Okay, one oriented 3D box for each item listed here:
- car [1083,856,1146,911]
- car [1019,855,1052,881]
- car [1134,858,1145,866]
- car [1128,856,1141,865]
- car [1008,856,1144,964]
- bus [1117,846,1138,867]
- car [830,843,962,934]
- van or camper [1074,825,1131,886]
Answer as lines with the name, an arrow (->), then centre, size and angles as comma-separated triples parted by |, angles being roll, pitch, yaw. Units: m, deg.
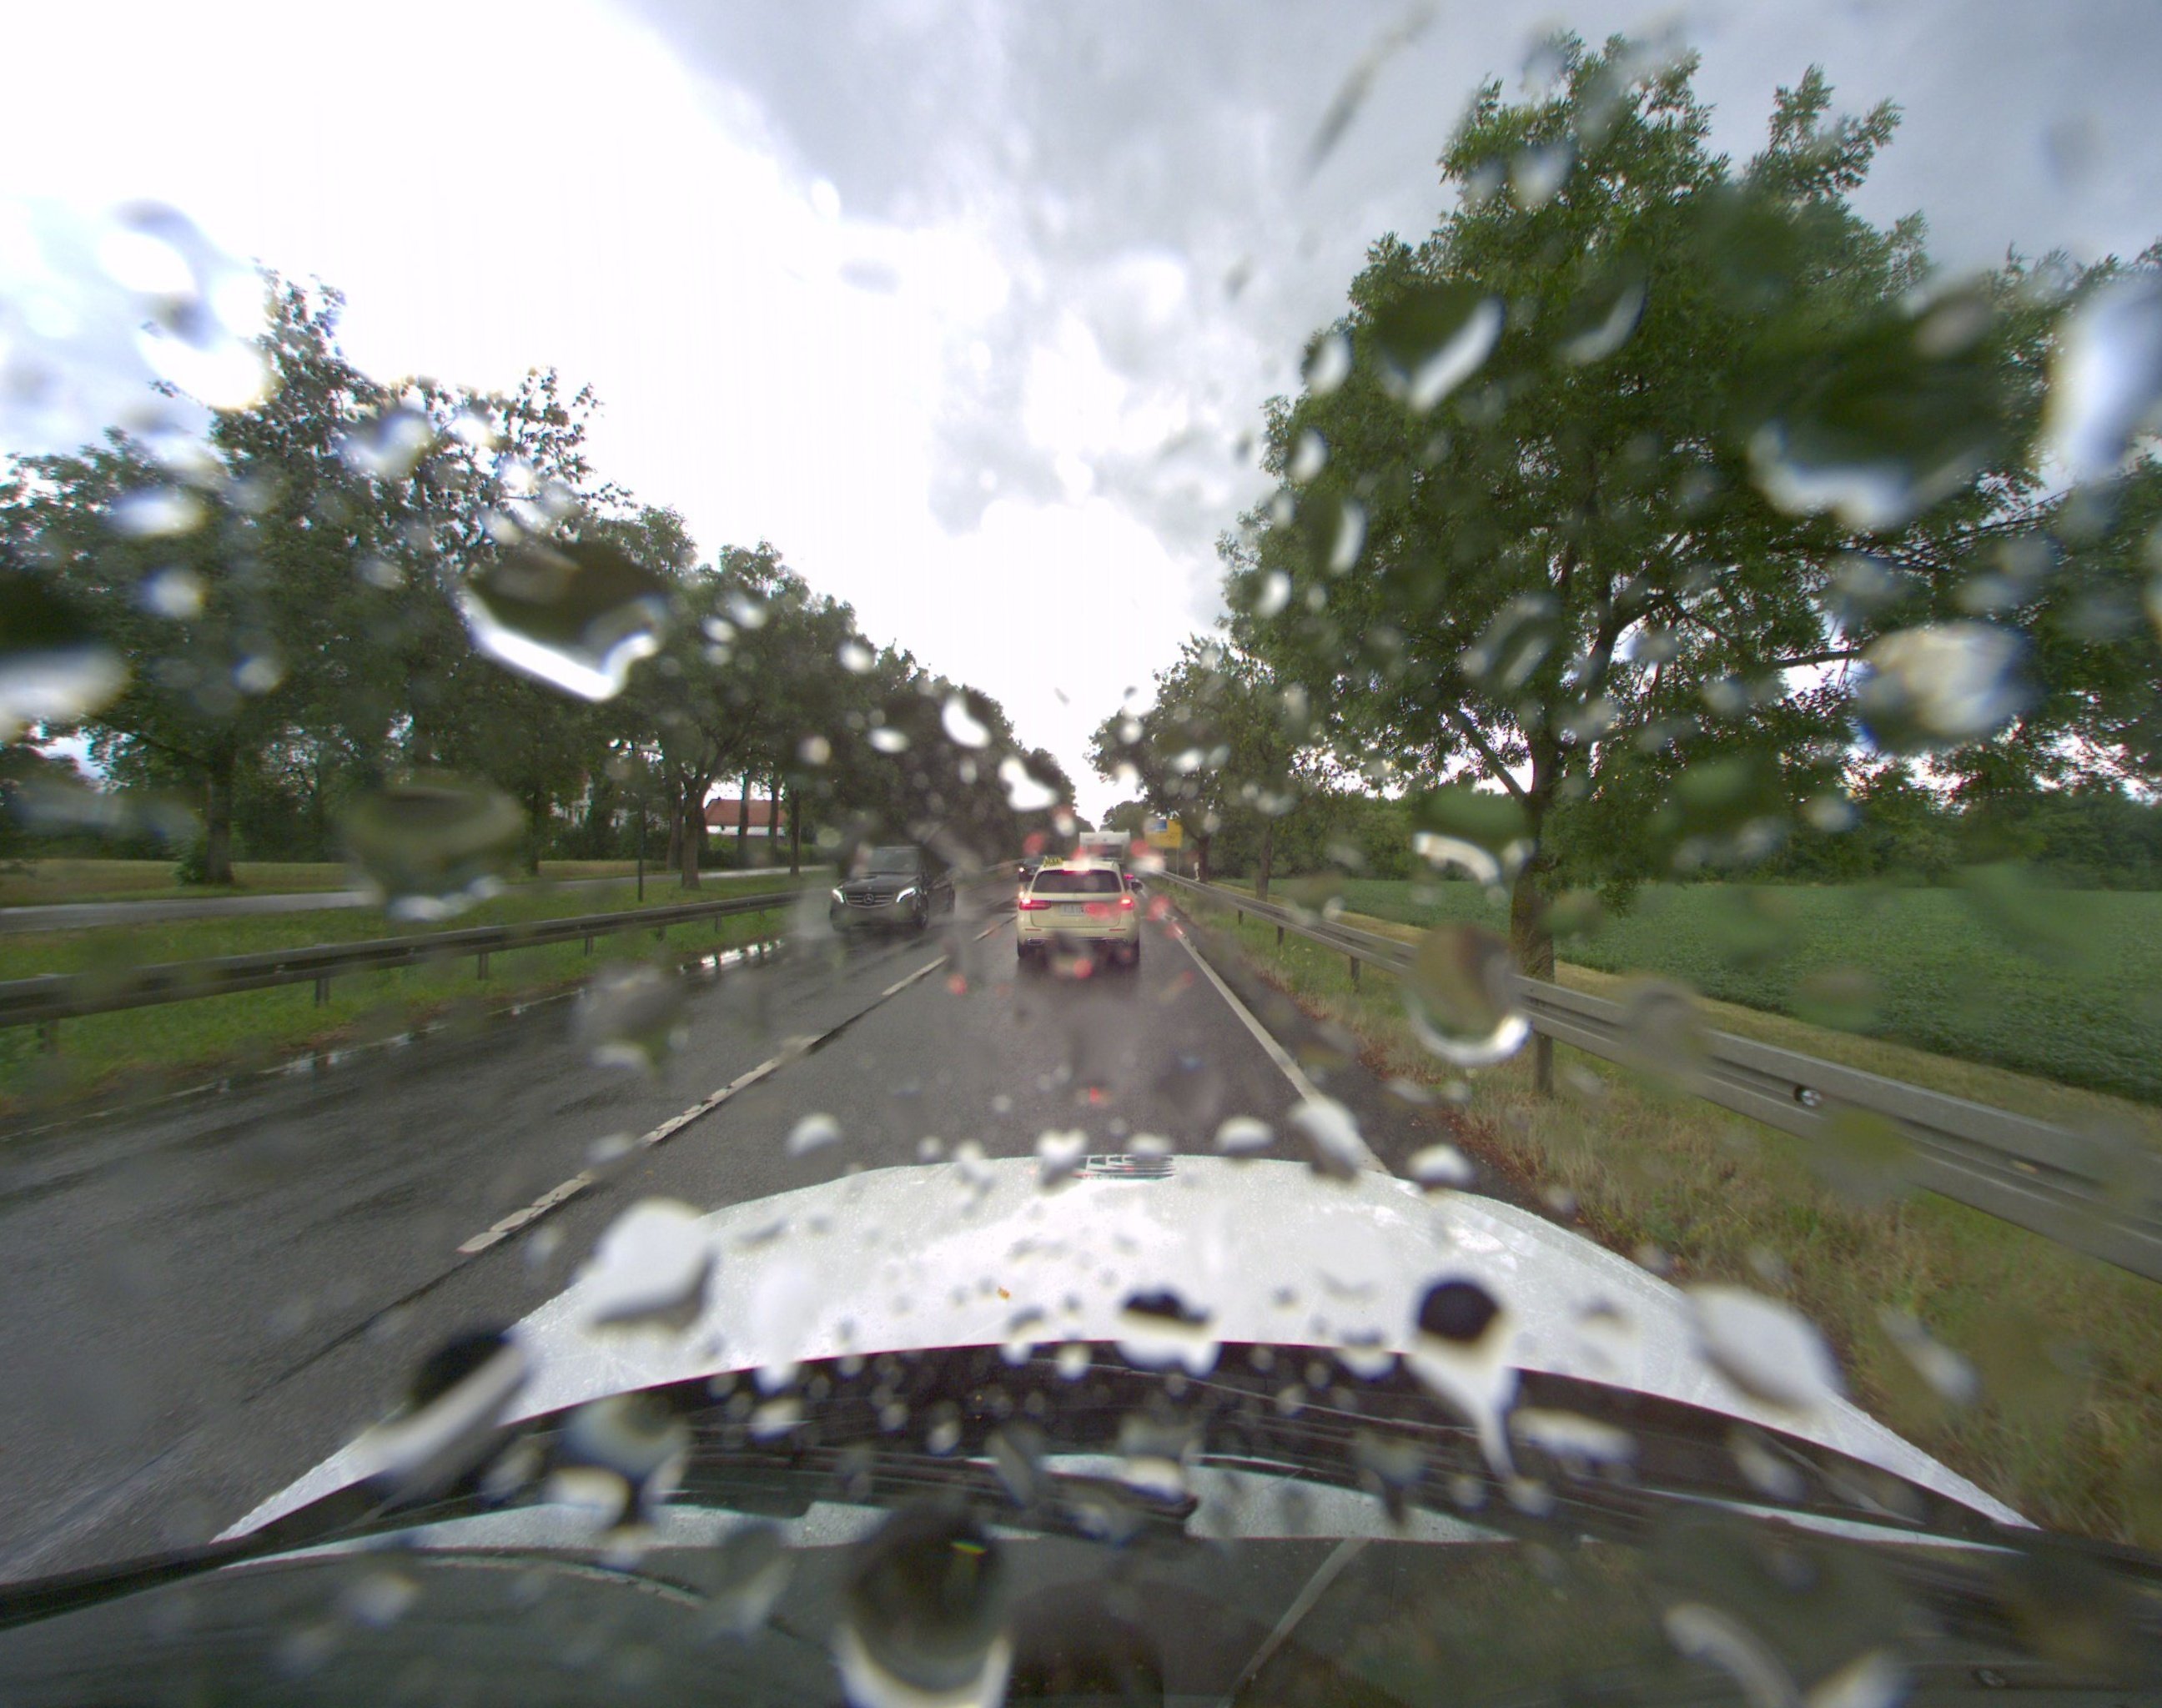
car -> 1.006, 0.792, 23.674 | 1.657, 1.431, 4.004 | -1, 0, 3
car -> -2.663, 0.809, 48.645 | 1.622, 1.438, 3.962 | 0, 0, 2
car -> 8.360, 1.179, 116.034 | 1.545, 1.118, 4.003 | -1, -1, 3
car -> 7.010, 0.908, 106.932 | 1.546, 1.118, 4.001 | 0, -1, 2
car -> 0.049, 0.782, 13.258 | 1.857, 1.476, 4.004 | -1, 0, 3
bus -> 4.733, 0.226, 82.988 | 1.986, 2.013, 4.002 | -1, 0, 2
car -> -4.019, 0.695, 18.461 | 1.821, 1.803, 4.417 | -1, 0, 2
van or camper -> 1.122, 0.063, 38.584 | 2.479, 2.685, 5.705 | 0, 0, 3
